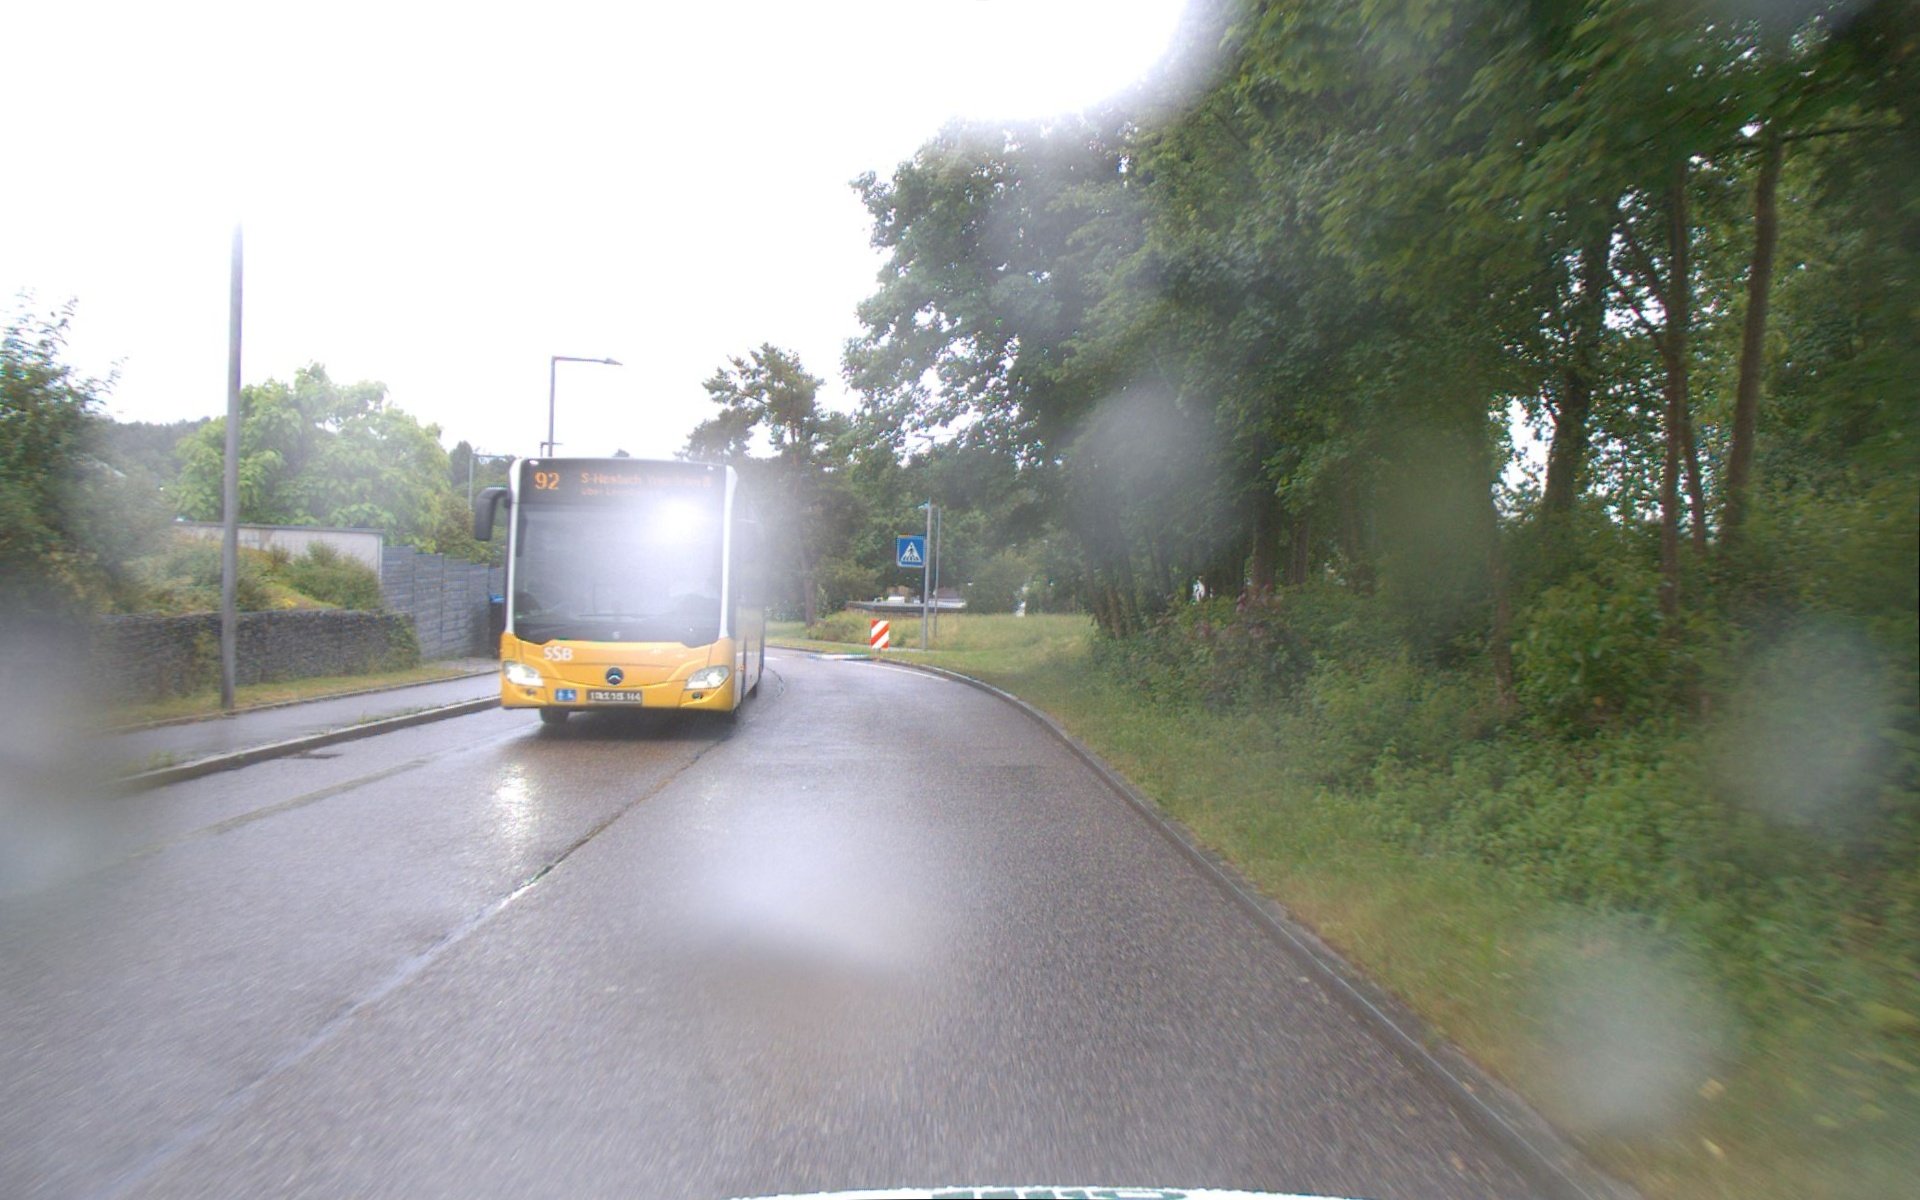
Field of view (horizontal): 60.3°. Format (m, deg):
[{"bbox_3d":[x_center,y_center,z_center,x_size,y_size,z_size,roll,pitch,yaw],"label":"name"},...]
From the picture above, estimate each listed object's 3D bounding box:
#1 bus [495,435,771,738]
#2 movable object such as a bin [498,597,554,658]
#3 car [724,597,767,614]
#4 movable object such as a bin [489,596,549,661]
[{"bbox_3d":[-4.003,-0.101,22.601,2.588,3.121,10.842,0,0,-5],"label":"bus"},{"bbox_3d":[-10.229,0.634,39.022,1.111,1.324,1.394,4,-1,-11],"label":"movable object such as a bin"},{"bbox_3d":[-23.986,0.647,185.061,4.451,1.780,1.912,-2,0,23],"label":"car"},{"bbox_3d":[-9.817,0.622,36.896,1.111,1.362,1.395,4,-1,-11],"label":"movable object such as a bin"}]
